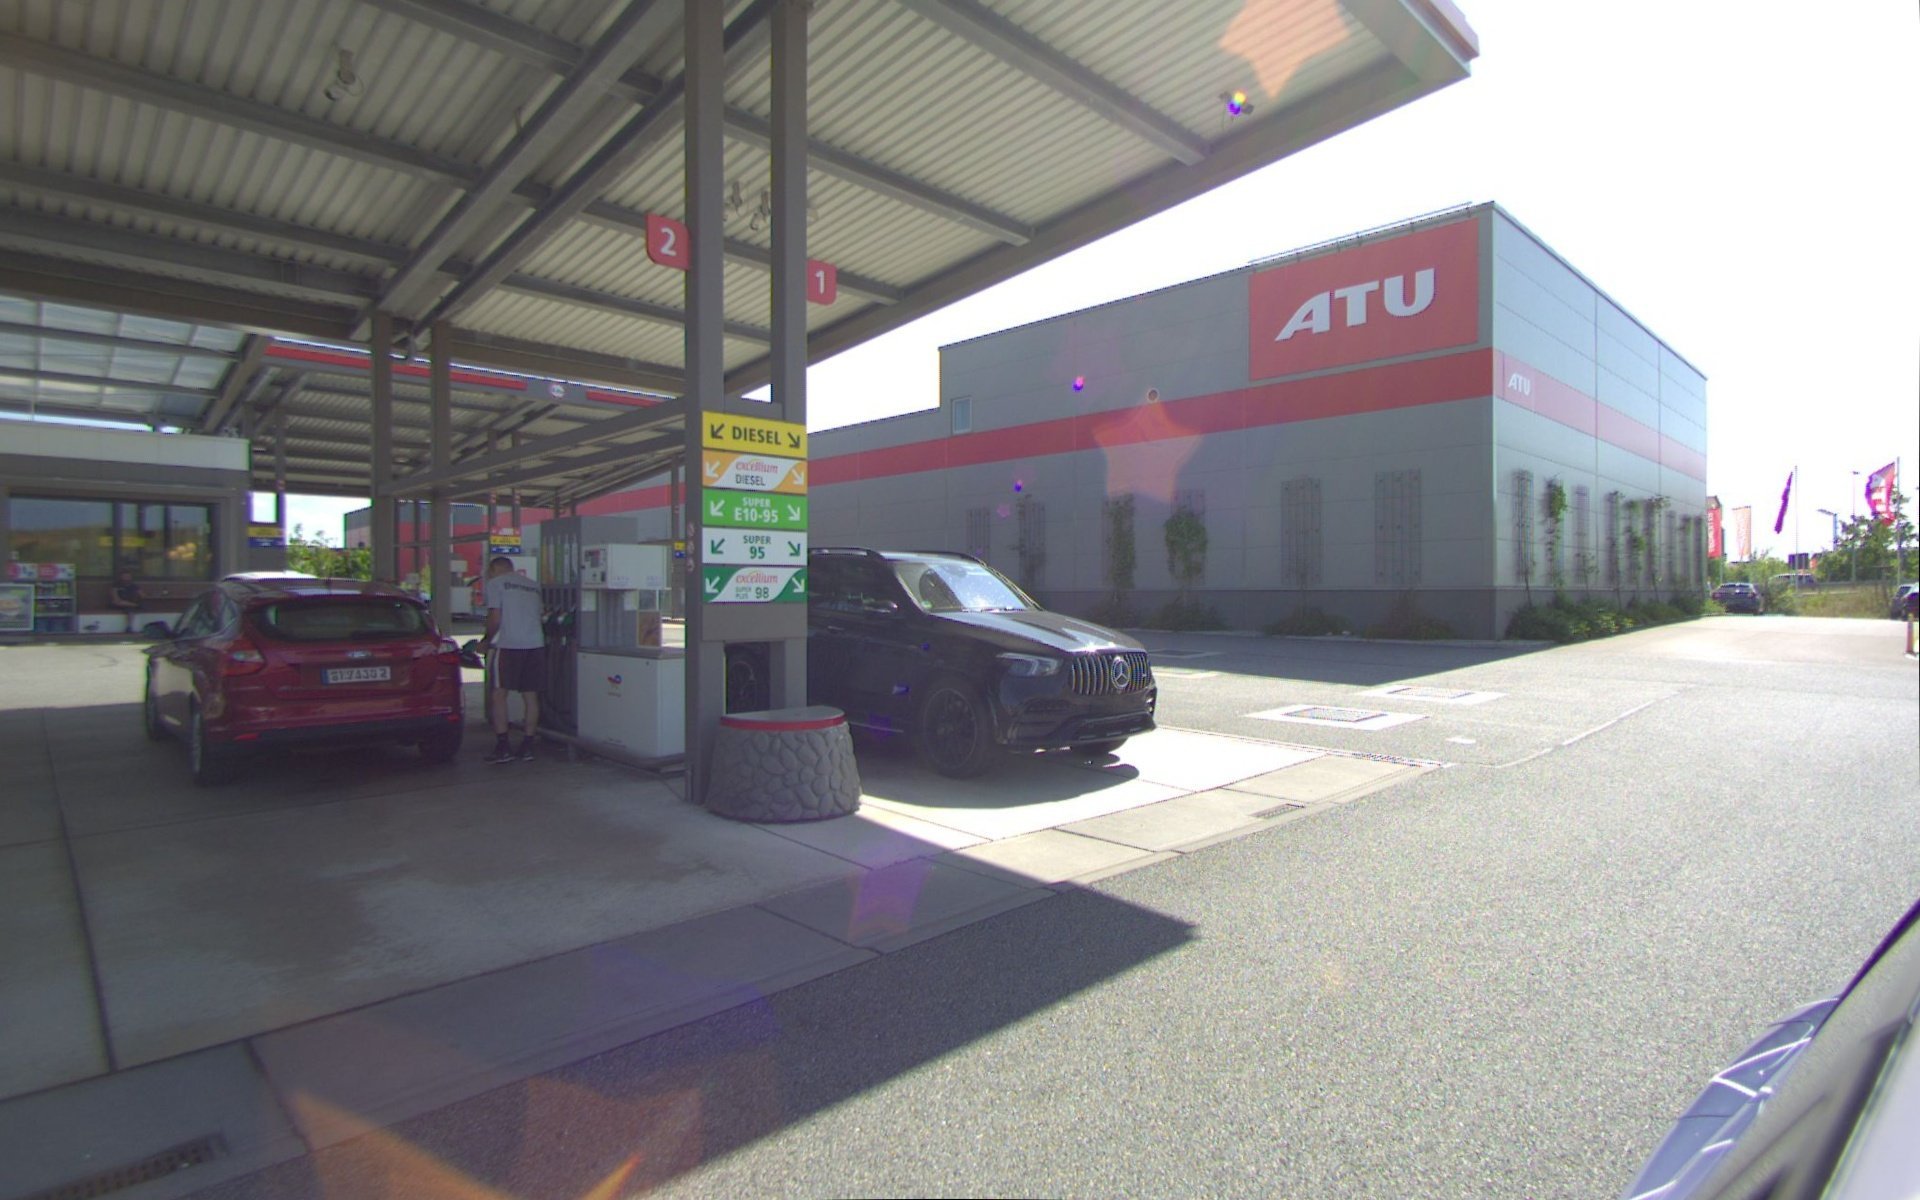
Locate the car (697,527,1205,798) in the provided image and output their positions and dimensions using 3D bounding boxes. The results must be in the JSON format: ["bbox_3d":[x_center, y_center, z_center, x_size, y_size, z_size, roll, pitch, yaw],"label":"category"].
[{"bbox_3d":[-0.352,0.332,9.398,2.001,1.873,4.787,-1,3,-44],"label":"car"}]

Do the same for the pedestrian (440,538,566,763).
[{"bbox_3d":[-3.762,0.375,8.313,0.691,1.724,0.926,-1,1,-43],"label":"pedestrian"}]

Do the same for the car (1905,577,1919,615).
[{"bbox_3d":[35.725,-0.153,36.963,1.676,1.334,3.775,1,2,44],"label":"car"}]

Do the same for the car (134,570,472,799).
[{"bbox_3d":[-5.792,0.499,8.678,1.676,1.487,4.222,-1,2,-44],"label":"car"}]

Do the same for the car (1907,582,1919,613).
[{"bbox_3d":[42.938,-0.116,44.482,3.662,1.319,1.678,-1,2,-43],"label":"car"}]

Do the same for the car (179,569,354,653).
[{"bbox_3d":[-13.752,0.141,19.975,4.302,1.475,1.809,1,1,40],"label":"car"}]

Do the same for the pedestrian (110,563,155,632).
[{"bbox_3d":[-17.852,-0.068,21.840,0.671,1.450,0.692,1,1,45],"label":"pedestrian"}]

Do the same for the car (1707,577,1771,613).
[{"bbox_3d":[35.136,-0.259,45.724,1.666,1.560,3.798,1,2,29],"label":"car"}]
